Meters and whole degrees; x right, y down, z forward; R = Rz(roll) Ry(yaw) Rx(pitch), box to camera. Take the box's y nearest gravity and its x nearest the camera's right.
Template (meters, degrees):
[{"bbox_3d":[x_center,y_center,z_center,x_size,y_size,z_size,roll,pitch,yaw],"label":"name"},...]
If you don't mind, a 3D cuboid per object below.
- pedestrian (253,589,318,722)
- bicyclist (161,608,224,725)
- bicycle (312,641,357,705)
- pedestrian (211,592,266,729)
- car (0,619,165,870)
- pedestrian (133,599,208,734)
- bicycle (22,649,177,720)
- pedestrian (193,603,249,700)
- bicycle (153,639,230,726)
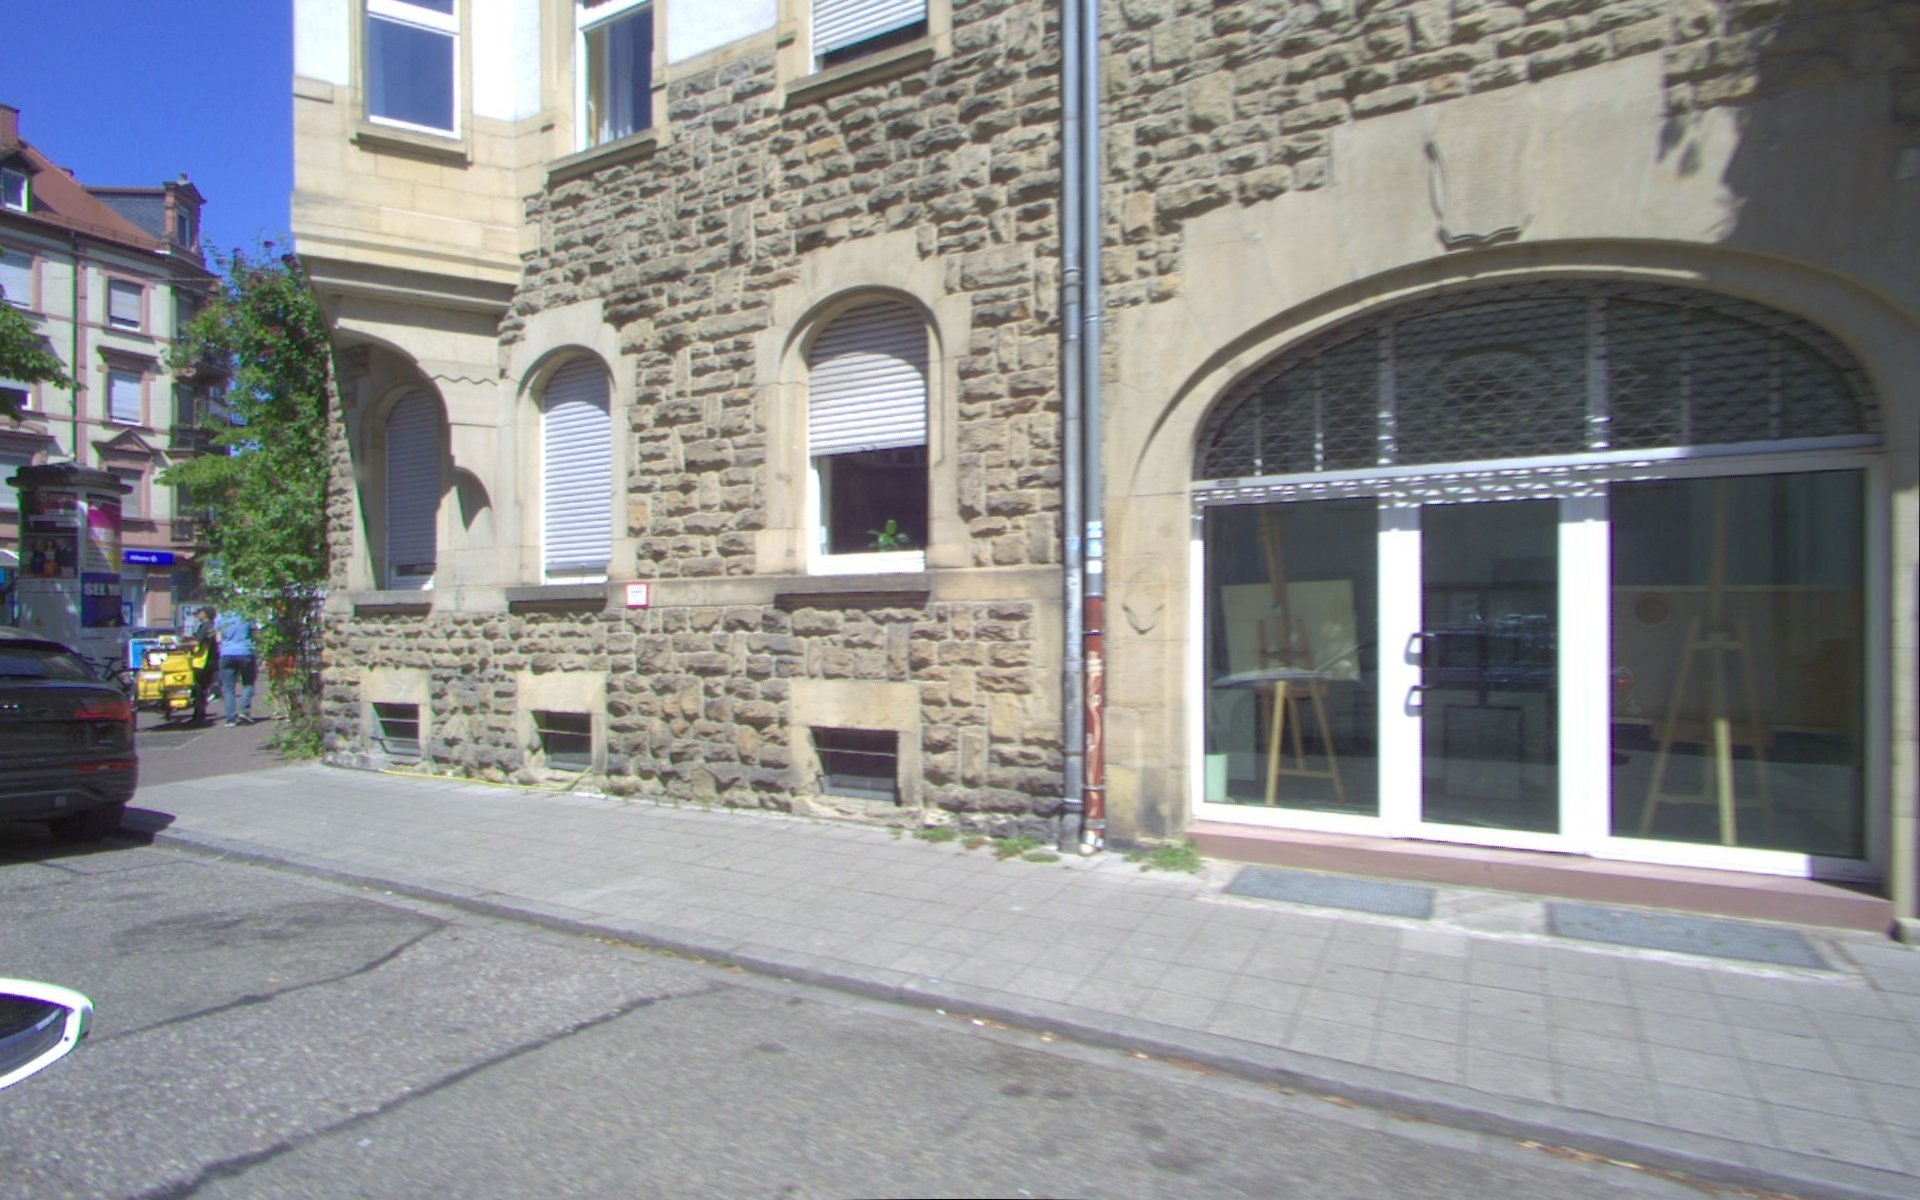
[{"bbox_3d":[-10.007,0.808,14.855,0.873,1.904,0.596,-1,-1,41],"label":"pedestrian"},{"bbox_3d":[-11.329,0.963,14.795,0.671,1.669,0.658,0,0,-33],"label":"bicyclist"},{"bbox_3d":[-11.151,1.274,17.885,0.541,1.052,1.829,0,-1,-28],"label":"bicycle"},{"bbox_3d":[-10.277,0.851,14.259,0.647,1.893,0.515,-1,-1,44],"label":"pedestrian"},{"bbox_3d":[-8.101,0.958,7.430,4.278,1.616,1.737,-1,-3,26],"label":"car"},{"bbox_3d":[-10.715,0.881,13.600,0.605,1.774,0.637,-1,0,32],"label":"pedestrian"},{"bbox_3d":[-14.503,1.396,16.940,0.624,1.052,1.898,-1,-1,29],"label":"bicycle"},{"bbox_3d":[-14.104,0.966,19.116,0.572,1.817,0.749,0,0,-9],"label":"pedestrian"},{"bbox_3d":[-11.695,1.202,15.298,0.786,1.184,2.561,0,-1,-34],"label":"bicycle"}]
